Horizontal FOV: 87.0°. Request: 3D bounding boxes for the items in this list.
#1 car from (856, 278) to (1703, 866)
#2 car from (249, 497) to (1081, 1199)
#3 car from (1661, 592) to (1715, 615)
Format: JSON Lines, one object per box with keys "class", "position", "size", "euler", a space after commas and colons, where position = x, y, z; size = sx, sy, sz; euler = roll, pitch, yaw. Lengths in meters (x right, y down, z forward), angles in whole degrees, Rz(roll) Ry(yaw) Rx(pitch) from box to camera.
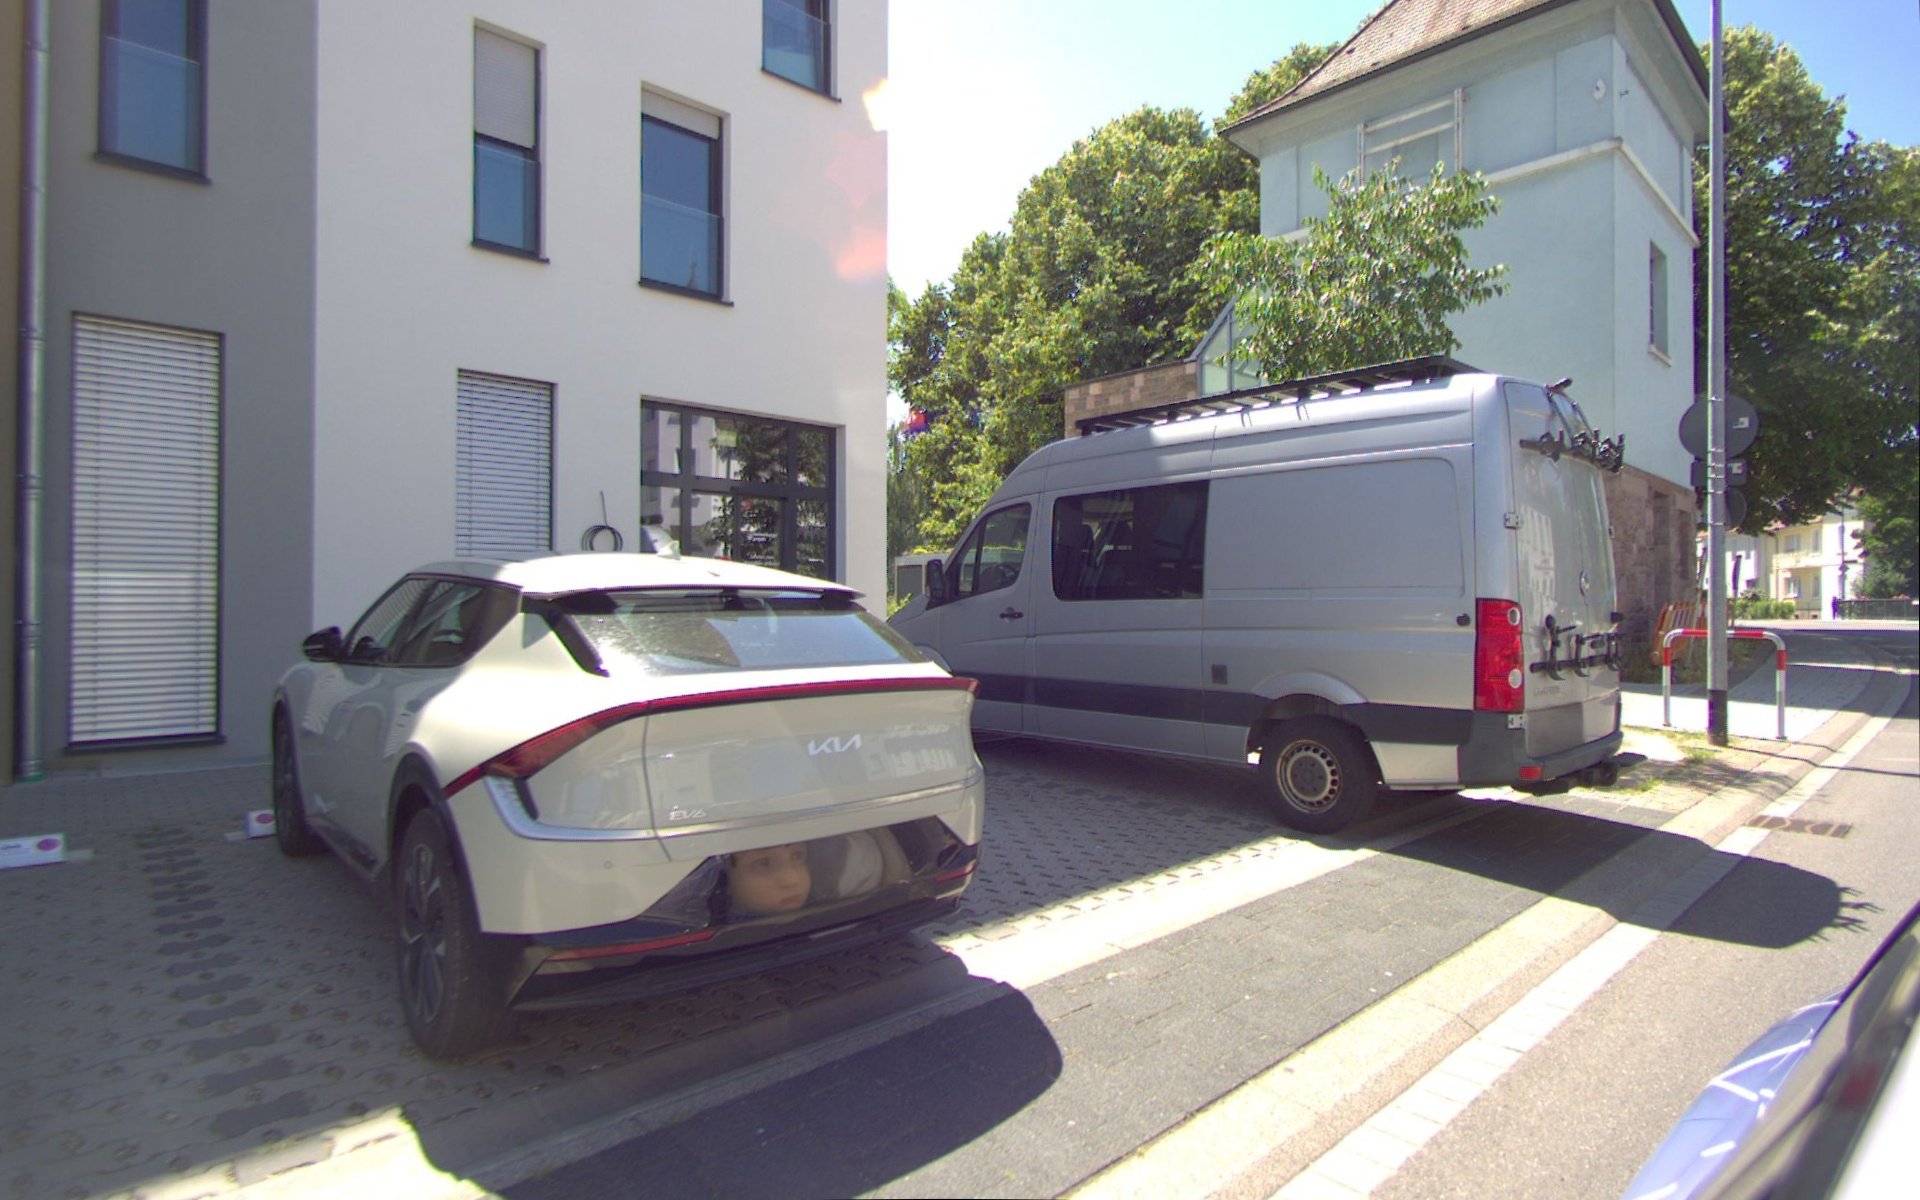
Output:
{"class": "car", "position": [1.803, -0.169, 7.732], "size": [2.158, 2.766, 5.949], "euler": [0, 1, -41]}
{"class": "car", "position": [-1.803, 0.517, 4.630], "size": [1.965, 1.548, 4.596], "euler": [-1, 1, -40]}
{"class": "car", "position": [51.396, 0.277, 71.545], "size": [1.860, 1.499, 4.705], "euler": [-3, -2, 20]}
